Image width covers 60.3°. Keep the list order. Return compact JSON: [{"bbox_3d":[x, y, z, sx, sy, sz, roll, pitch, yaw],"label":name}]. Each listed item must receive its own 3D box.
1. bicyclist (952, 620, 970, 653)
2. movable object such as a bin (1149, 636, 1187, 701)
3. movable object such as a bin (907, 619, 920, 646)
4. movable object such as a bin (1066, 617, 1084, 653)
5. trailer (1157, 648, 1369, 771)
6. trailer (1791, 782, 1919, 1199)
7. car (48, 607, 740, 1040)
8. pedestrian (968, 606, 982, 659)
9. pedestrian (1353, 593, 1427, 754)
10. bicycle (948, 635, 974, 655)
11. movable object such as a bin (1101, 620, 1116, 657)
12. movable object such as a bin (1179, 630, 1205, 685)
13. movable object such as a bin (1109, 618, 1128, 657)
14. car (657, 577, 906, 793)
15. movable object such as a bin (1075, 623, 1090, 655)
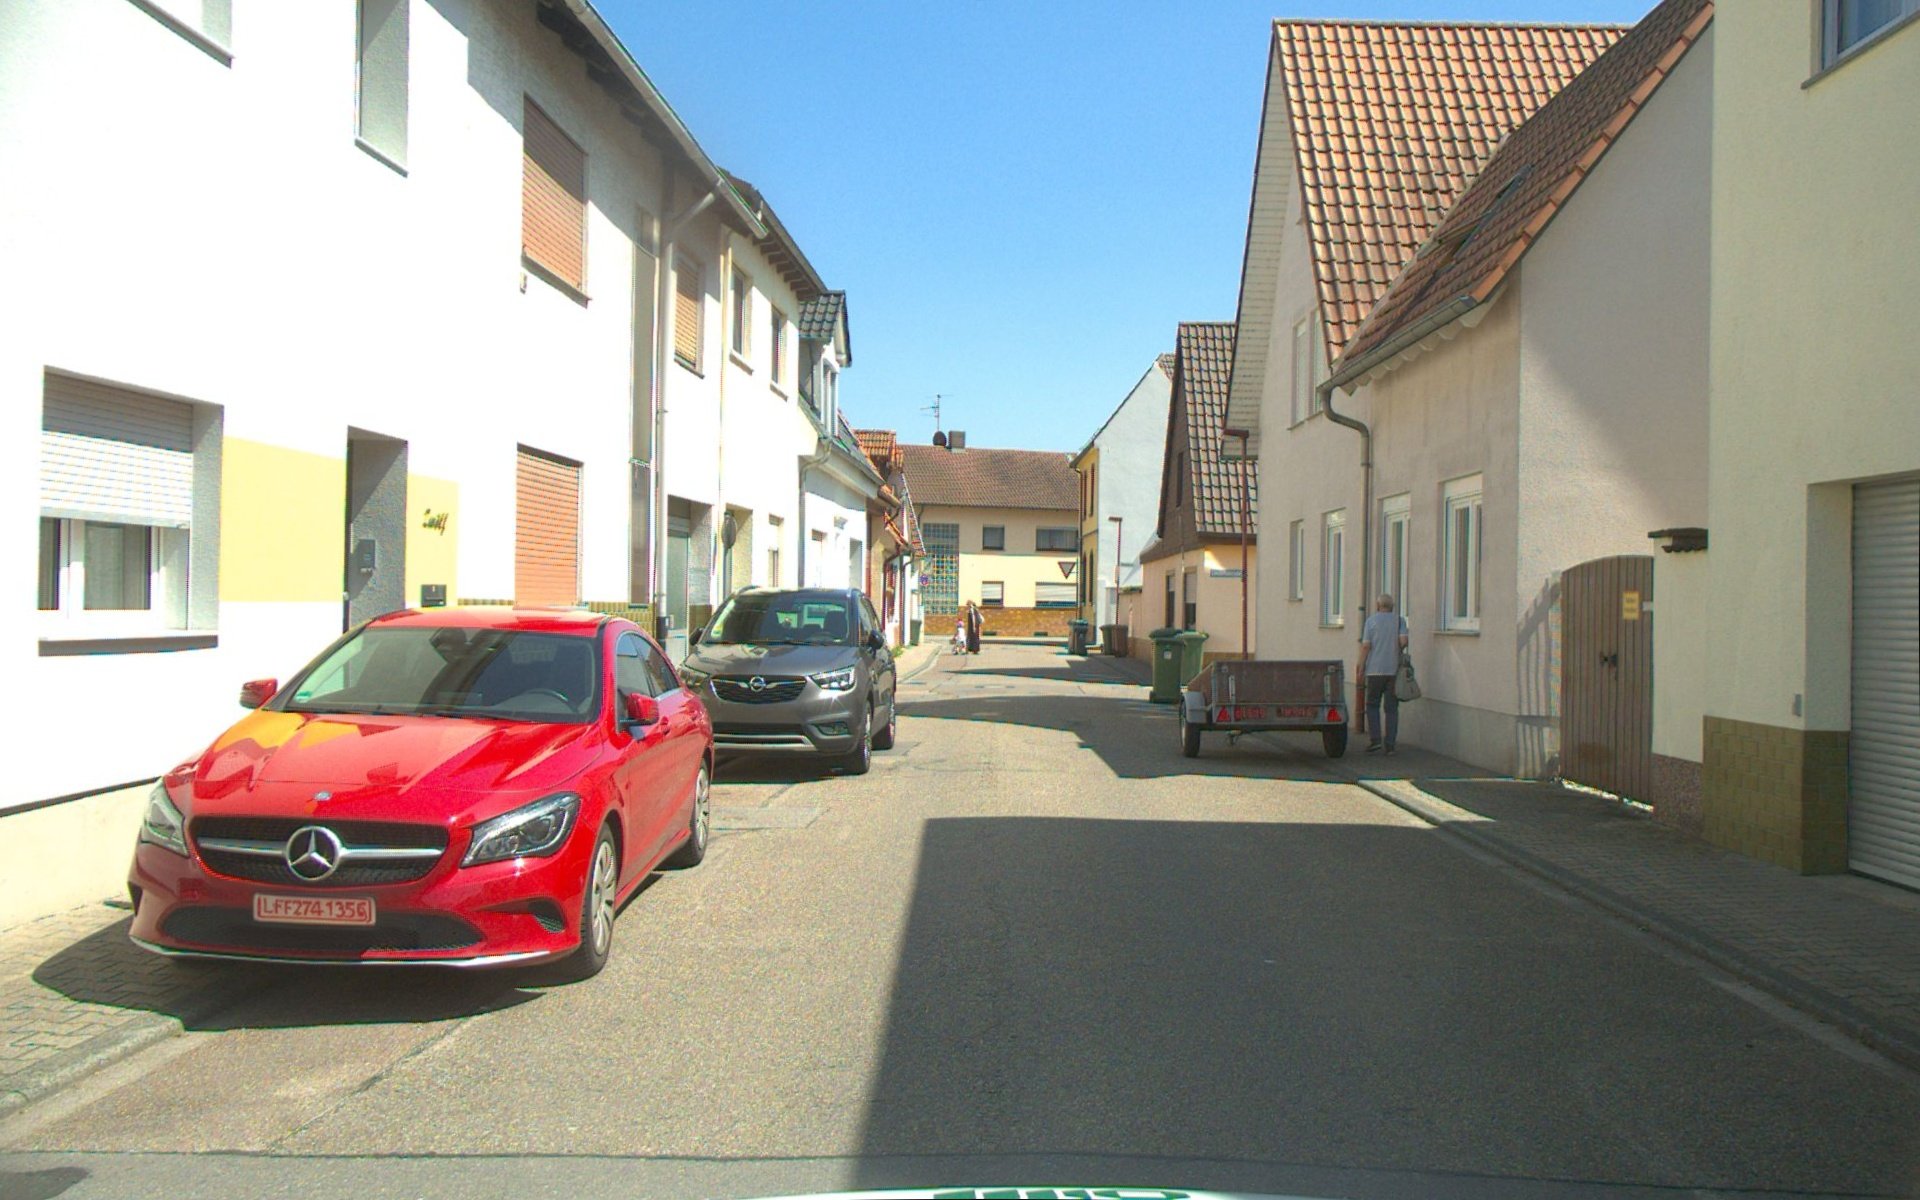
[{"bbox_3d":[0.031,1.108,50.514,0.456,0.976,0.349,0,0,-27],"label":"bicyclist"},{"bbox_3d":[3.457,1.132,27.526,0.573,1.051,0.595,0,-1,0],"label":"movable object such as a bin"},{"bbox_3d":[-1.654,1.159,58.565,0.439,0.937,0.404,0,-1,-1],"label":"movable object such as a bin"},{"bbox_3d":[3.689,1.117,53.049,0.557,1.147,0.453,0,-1,-1],"label":"movable object such as a bin"},{"bbox_3d":[3.078,1.087,17.403,1.664,1.051,3.481,0,0,1],"label":"trailer"},{"bbox_3d":[2.812,0.994,2.176,1.779,1.109,3.482,0,0,2],"label":"trailer"},{"bbox_3d":[-2.219,0.772,7.870,1.763,1.466,4.487,0,0,0],"label":"car"},{"bbox_3d":[0.460,0.996,51.148,0.403,1.638,0.367,0,-1,-8],"label":"pedestrian"},{"bbox_3d":[4.336,0.748,16.715,0.583,1.592,0.557,0,-4,-1],"label":"pedestrian"},{"bbox_3d":[0.025,1.366,50.511,0.436,0.577,0.931,0,0,-27],"label":"bicycle"},{"bbox_3d":[4.645,1.201,51.860,0.417,1.147,0.414,0,-1,-1],"label":"movable object such as a bin"},{"bbox_3d":[4.755,1.180,33.910,0.448,1.106,0.502,0,-1,0],"label":"movable object such as a bin"},{"bbox_3d":[4.730,1.118,49.293,0.514,1.147,0.366,0,-1,-1],"label":"movable object such as a bin"},{"bbox_3d":[-1.532,0.711,15.739,1.763,1.733,4.488,-1,0,1],"label":"car"},{"bbox_3d":[3.879,1.234,52.436,0.415,0.992,0.473,0,-1,-1],"label":"movable object such as a bin"}]
